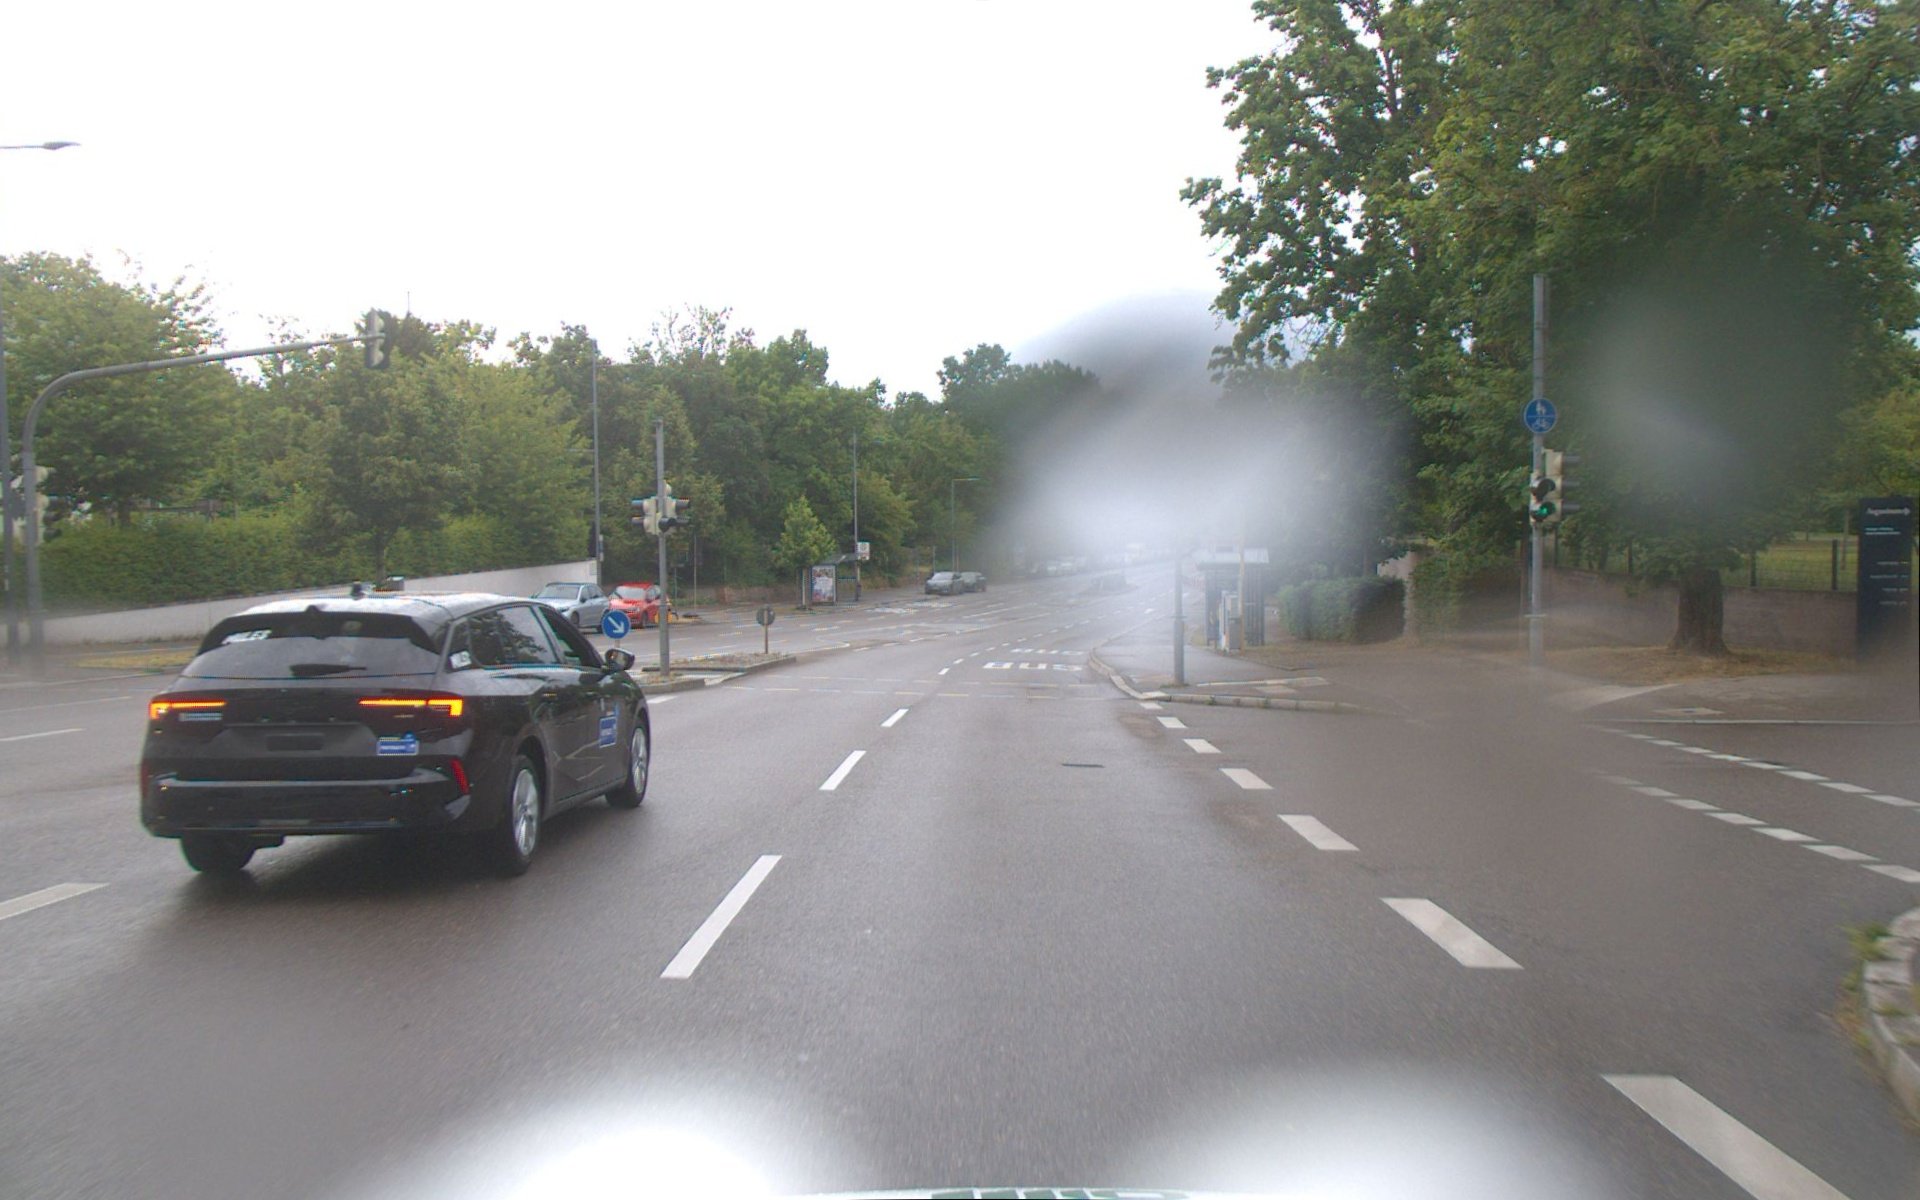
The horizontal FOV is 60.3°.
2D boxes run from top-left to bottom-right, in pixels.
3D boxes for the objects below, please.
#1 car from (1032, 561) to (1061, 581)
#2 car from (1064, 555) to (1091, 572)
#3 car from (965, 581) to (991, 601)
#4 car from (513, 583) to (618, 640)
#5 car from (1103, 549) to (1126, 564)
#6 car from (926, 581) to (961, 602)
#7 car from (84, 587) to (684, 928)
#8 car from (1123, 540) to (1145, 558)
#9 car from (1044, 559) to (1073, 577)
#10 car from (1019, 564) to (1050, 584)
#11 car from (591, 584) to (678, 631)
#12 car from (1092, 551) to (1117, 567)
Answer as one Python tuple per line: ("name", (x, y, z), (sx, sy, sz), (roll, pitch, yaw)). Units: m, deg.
("car", (8.110, -2.715, 154.067), (1.820, 1.511, 4.005), (2, 5, 16))
("car", (11.927, -3.684, 167.157), (1.915, 1.511, 4.005), (2, 5, 16))
("car", (1.345, -0.634, 120.753), (1.386, 1.449, 3.125), (0, 0, 11))
("car", (-12.772, 0.342, 53.736), (1.813, 1.668, 4.097), (2, 1, 10))
("car", (17.245, -4.859, 184.427), (1.915, 1.511, 4.005), (2, 5, 16))
("car", (-1.160, -0.588, 114.874), (1.676, 1.486, 3.754), (0, 0, 11))
("car", (-2.995, 0.693, 9.753), (1.762, 1.455, 4.522), (1, 1, 3))
("car", (20.426, -6.015, 194.183), (1.915, 1.970, 4.005), (2, 5, 16))
("car", (9.488, -3.076, 158.939), (1.915, 1.511, 4.005), (2, 5, 16))
("car", (6.736, -2.361, 149.295), (1.915, 1.511, 4.005), (2, 5, 16))
("car", (-11.939, 0.260, 61.002), (1.835, 1.602, 4.226), (2, 1, 8))
("car", (15.669, -4.478, 179.273), (1.915, 1.511, 4.005), (2, 5, 16))
